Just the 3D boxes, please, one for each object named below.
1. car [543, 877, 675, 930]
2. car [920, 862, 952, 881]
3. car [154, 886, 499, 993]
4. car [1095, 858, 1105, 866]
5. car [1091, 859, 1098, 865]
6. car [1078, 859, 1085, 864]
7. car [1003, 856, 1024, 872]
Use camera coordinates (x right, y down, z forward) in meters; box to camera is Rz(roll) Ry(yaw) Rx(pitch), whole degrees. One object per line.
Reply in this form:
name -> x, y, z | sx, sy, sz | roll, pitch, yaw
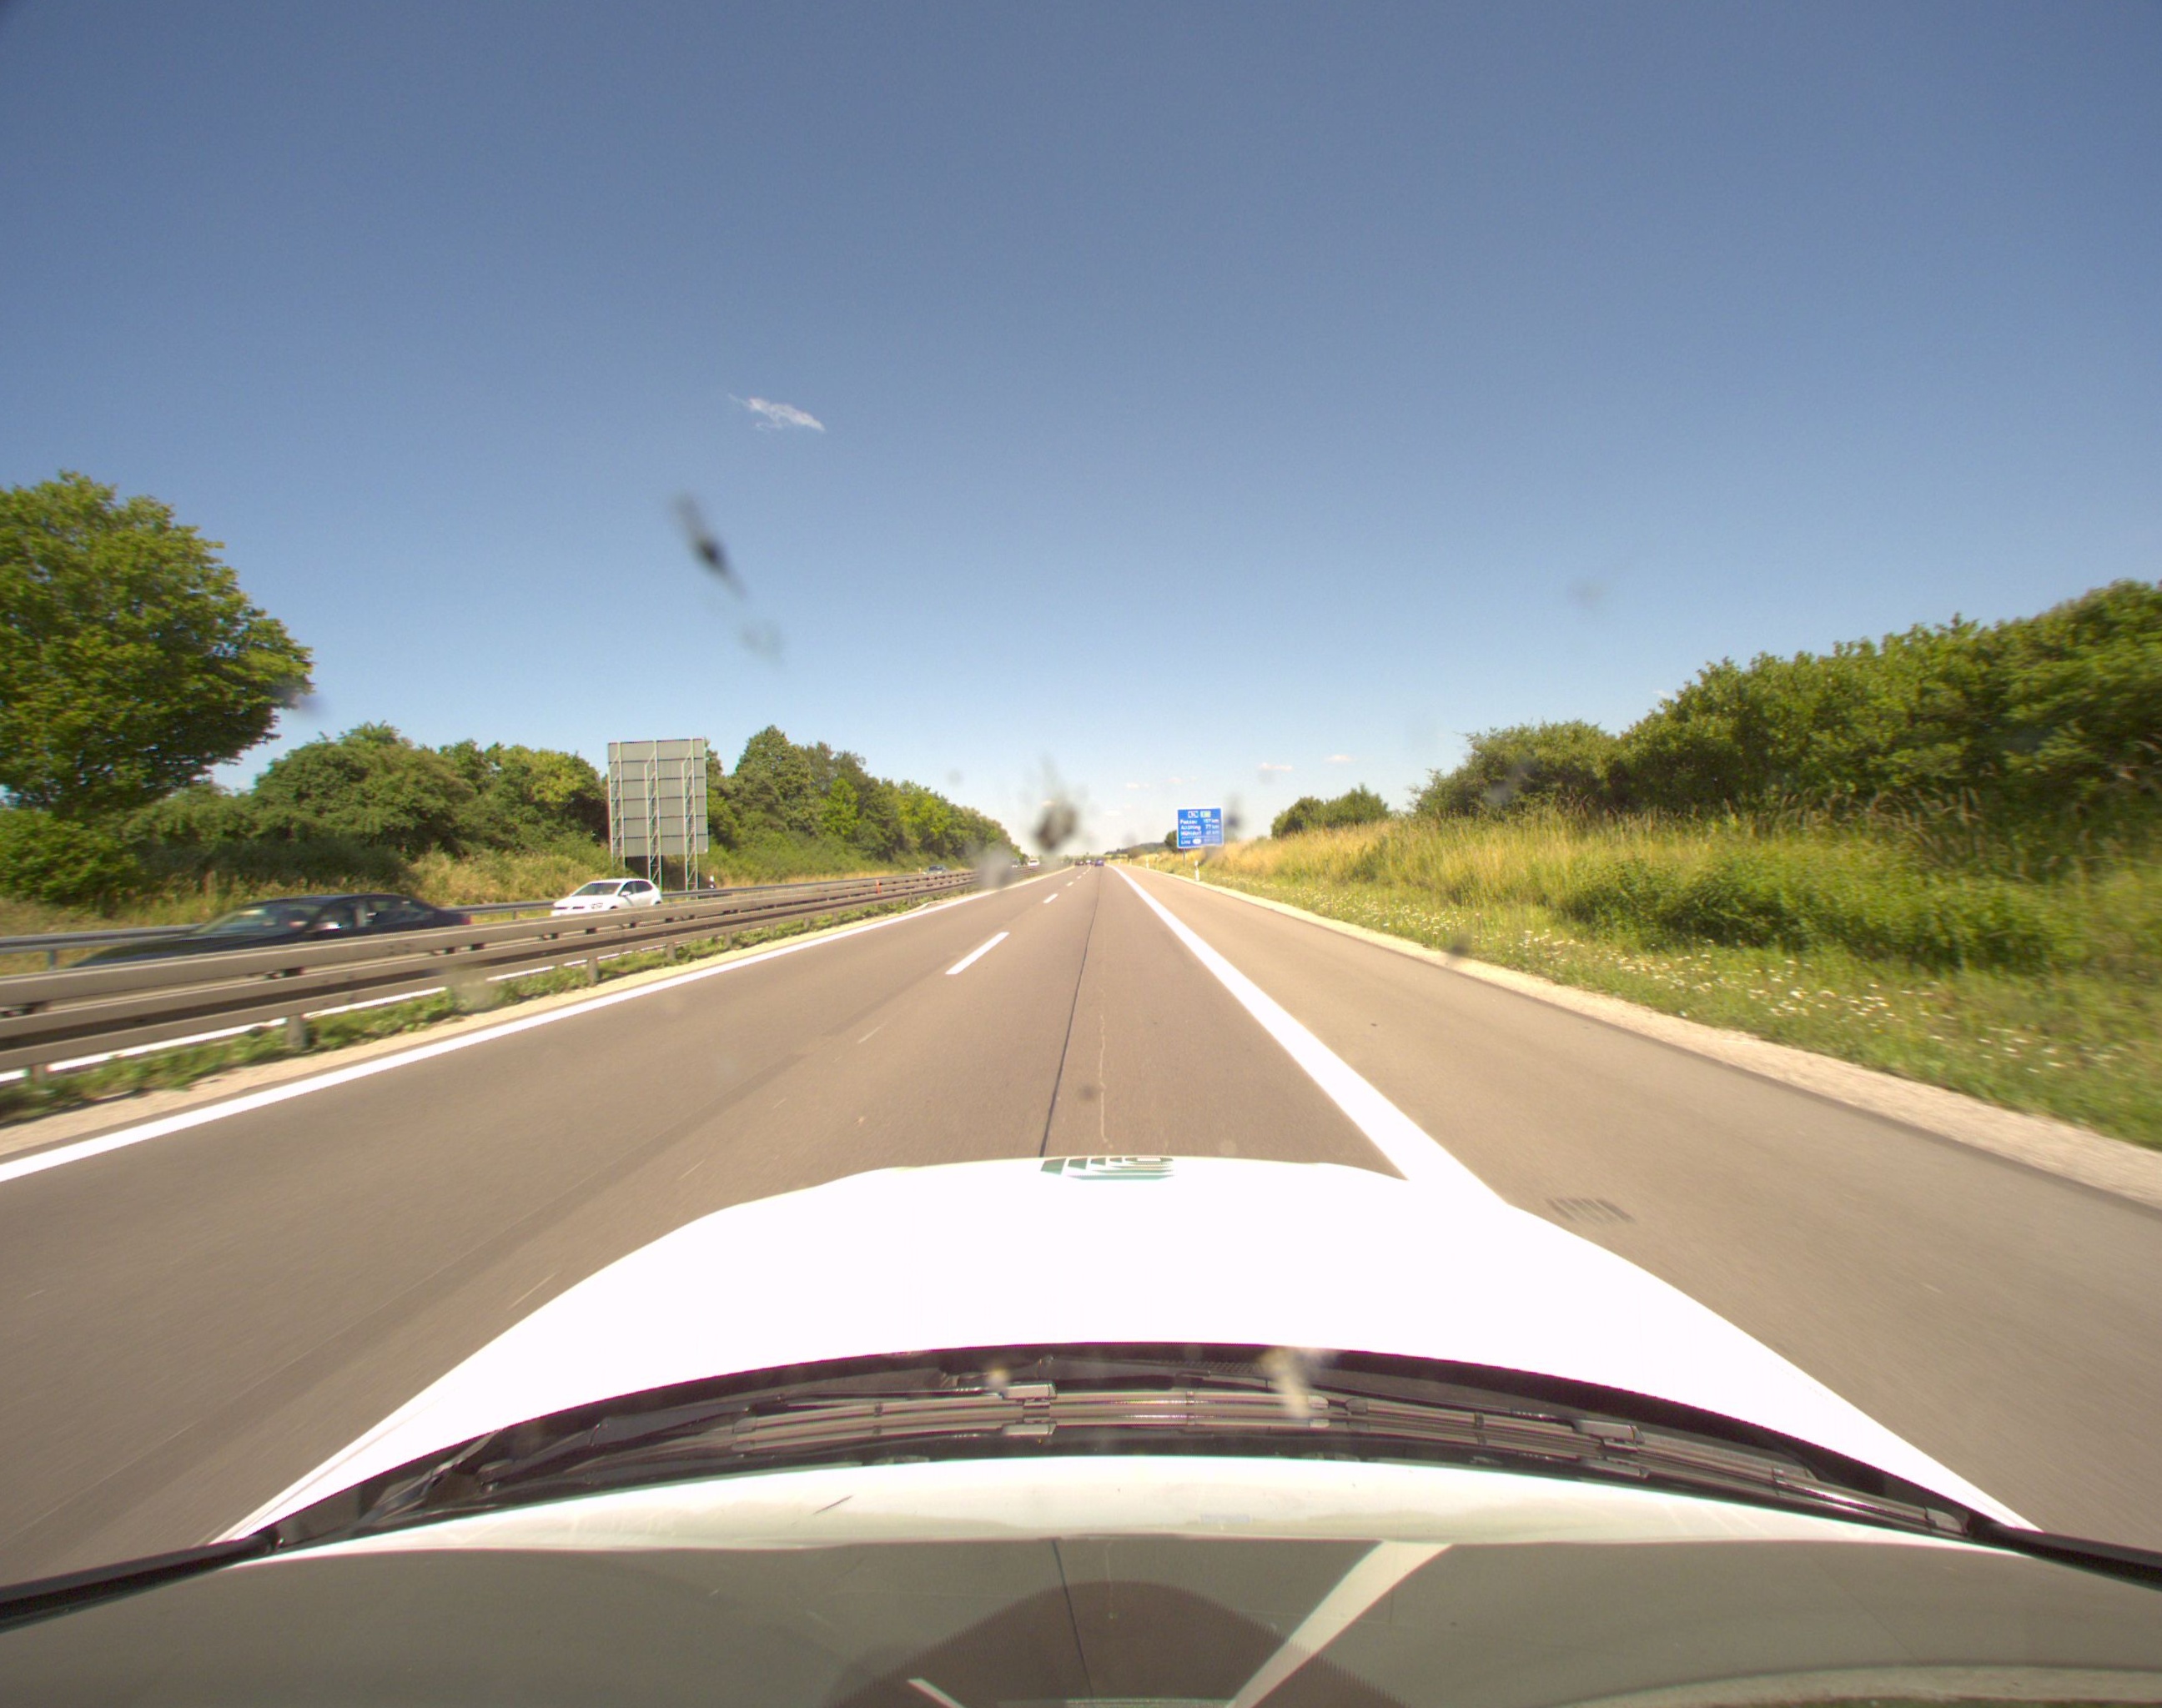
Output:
car -> -14.656, 1.482, 25.591 | 1.516, 1.352, 4.234 | -2, 0, 2
car -> -13.279, 1.601, 74.805 | 1.986, 1.612, 4.489 | -3, 0, 2
car -> -10.867, 1.155, 12.155 | 1.516, 1.156, 3.767 | -2, 0, 2
car -> 3.555, 1.508, 154.735 | 1.669, 1.453, 3.595 | -4, -1, 3
car -> 3.597, 2.108, 218.901 | 1.822, 1.453, 3.594 | -4, -1, 2
car -> 0.208, 2.196, 233.961 | 1.822, 1.453, 3.594 | -4, -1, 2
car -> -8.526, 1.251, 103.188 | 1.986, 1.973, 5.041 | -3, 0, 2
